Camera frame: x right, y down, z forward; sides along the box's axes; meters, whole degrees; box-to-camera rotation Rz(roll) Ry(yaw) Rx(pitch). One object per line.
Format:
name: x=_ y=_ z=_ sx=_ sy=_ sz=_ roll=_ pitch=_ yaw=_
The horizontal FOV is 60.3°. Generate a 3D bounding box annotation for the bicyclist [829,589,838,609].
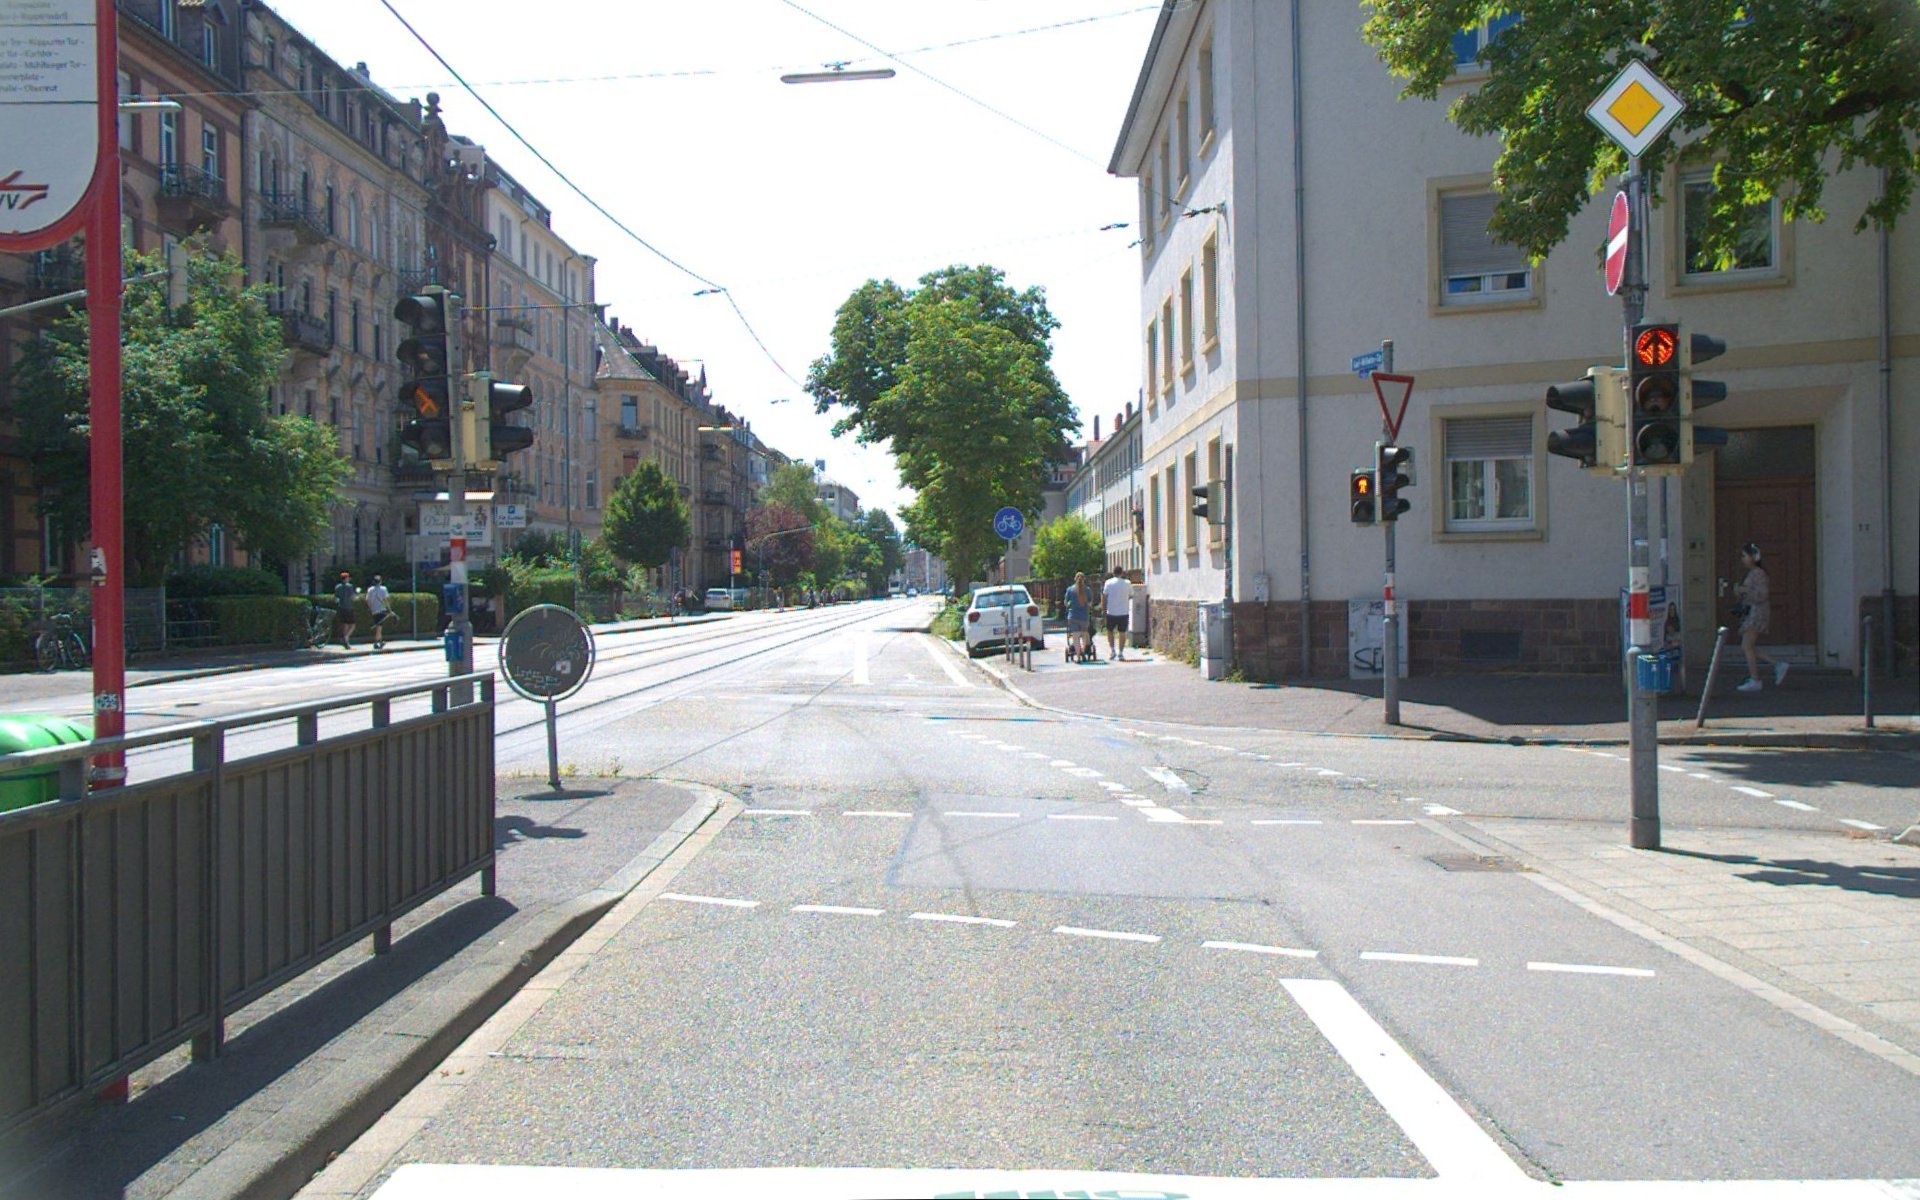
bicyclist: x=-11.490 y=-0.072 z=150.543 sx=0.712 sy=1.850 sz=1.079 roll=1 pitch=0 yaw=1

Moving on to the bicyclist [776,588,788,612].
bicyclist: x=-12.214 y=-0.001 z=113.590 sx=0.712 sy=1.657 sz=1.079 roll=1 pitch=0 yaw=1

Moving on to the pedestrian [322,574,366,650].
pedestrian: x=-15.394 y=0.283 z=41.349 sx=0.800 sy=1.854 sz=0.873 roll=1 pitch=1 yaw=-3

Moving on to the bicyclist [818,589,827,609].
bicyclist: x=-12.510 y=-0.104 z=150.571 sx=0.712 sy=1.850 sz=1.079 roll=1 pitch=0 yaw=1

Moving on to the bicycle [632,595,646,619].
bicycle: x=-15.497 y=0.329 z=79.794 sx=0.665 sy=1.083 sz=1.913 roll=-1 pitch=0 yaw=-12

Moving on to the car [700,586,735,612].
car: x=-16.871 y=-0.063 z=115.319 sx=1.880 sy=1.745 sz=3.999 roll=1 pitch=0 yaw=-1

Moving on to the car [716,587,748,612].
car: x=-17.038 y=-0.032 z=123.580 sx=1.880 sy=1.745 sz=3.999 roll=1 pitch=0 yaw=-1

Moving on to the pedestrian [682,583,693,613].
pedestrian: x=-15.324 y=-0.098 z=92.891 sx=0.510 sy=1.688 sz=0.529 roll=-1 pitch=0 yaw=-1

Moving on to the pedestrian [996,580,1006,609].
pedestrian: x=2.298 y=-0.288 z=92.300 sx=0.511 sy=1.590 sz=0.573 roll=-1 pitch=0 yaw=-1

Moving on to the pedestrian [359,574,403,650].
pedestrian: x=-14.544 y=0.290 z=41.543 sx=0.800 sy=1.854 sz=0.873 roll=1 pitch=1 yaw=-3

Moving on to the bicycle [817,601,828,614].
bicycle: x=-12.503 y=0.651 z=150.545 sx=0.712 sy=1.142 sz=2.085 roll=1 pitch=0 yaw=1

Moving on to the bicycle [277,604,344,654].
bicycle: x=-15.879 y=0.696 z=40.522 sx=0.920 sy=1.156 sz=2.767 roll=1 pitch=0 yaw=-9

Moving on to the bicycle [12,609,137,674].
bicycle: x=-16.714 y=0.757 z=31.311 sx=0.918 sy=1.156 sz=2.773 roll=1 pitch=0 yaw=-2

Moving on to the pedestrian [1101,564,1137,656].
pedestrian: x=2.943 y=0.188 z=30.638 sx=0.545 sy=1.674 sz=0.677 roll=1 pitch=-1 yaw=-2

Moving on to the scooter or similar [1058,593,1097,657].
scooter or similar: x=2.222 y=0.463 z=31.243 sx=0.545 sy=1.175 sz=1.206 roll=1 pitch=0 yaw=13

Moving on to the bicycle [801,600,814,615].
bicycle: x=-11.793 y=0.578 z=127.788 sx=0.712 sy=1.142 sz=2.085 roll=1 pitch=0 yaw=1

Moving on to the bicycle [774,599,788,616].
bicycle: x=-12.273 y=0.525 z=113.587 sx=0.712 sy=1.142 sz=2.085 roll=1 pitch=0 yaw=1

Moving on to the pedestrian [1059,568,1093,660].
pedestrian: x=2.127 y=0.257 z=30.336 sx=0.545 sy=1.674 sz=0.677 roll=1 pitch=-1 yaw=-2

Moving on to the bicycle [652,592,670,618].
bicycle: x=-15.274 y=0.243 z=84.442 sx=0.664 sy=1.301 sz=1.917 roll=-1 pitch=0 yaw=-4

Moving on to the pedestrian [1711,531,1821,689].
pedestrian: x=9.436 y=0.114 z=19.385 sx=1.033 sy=1.719 sz=0.653 roll=-4 pitch=3 yaw=26

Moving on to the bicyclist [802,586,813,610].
bicyclist: x=-11.775 y=-0.140 z=127.943 sx=0.712 sy=1.799 sz=1.079 roll=1 pitch=0 yaw=1

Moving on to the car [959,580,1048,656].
car: x=0.926 y=0.393 z=37.333 sx=1.778 sy=1.542 sz=3.999 roll=-3 pitch=0 yaw=-1

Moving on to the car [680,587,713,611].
car: x=-19.670 y=-0.077 z=123.614 sx=1.880 sy=1.745 sz=3.999 roll=1 pitch=0 yaw=-1
